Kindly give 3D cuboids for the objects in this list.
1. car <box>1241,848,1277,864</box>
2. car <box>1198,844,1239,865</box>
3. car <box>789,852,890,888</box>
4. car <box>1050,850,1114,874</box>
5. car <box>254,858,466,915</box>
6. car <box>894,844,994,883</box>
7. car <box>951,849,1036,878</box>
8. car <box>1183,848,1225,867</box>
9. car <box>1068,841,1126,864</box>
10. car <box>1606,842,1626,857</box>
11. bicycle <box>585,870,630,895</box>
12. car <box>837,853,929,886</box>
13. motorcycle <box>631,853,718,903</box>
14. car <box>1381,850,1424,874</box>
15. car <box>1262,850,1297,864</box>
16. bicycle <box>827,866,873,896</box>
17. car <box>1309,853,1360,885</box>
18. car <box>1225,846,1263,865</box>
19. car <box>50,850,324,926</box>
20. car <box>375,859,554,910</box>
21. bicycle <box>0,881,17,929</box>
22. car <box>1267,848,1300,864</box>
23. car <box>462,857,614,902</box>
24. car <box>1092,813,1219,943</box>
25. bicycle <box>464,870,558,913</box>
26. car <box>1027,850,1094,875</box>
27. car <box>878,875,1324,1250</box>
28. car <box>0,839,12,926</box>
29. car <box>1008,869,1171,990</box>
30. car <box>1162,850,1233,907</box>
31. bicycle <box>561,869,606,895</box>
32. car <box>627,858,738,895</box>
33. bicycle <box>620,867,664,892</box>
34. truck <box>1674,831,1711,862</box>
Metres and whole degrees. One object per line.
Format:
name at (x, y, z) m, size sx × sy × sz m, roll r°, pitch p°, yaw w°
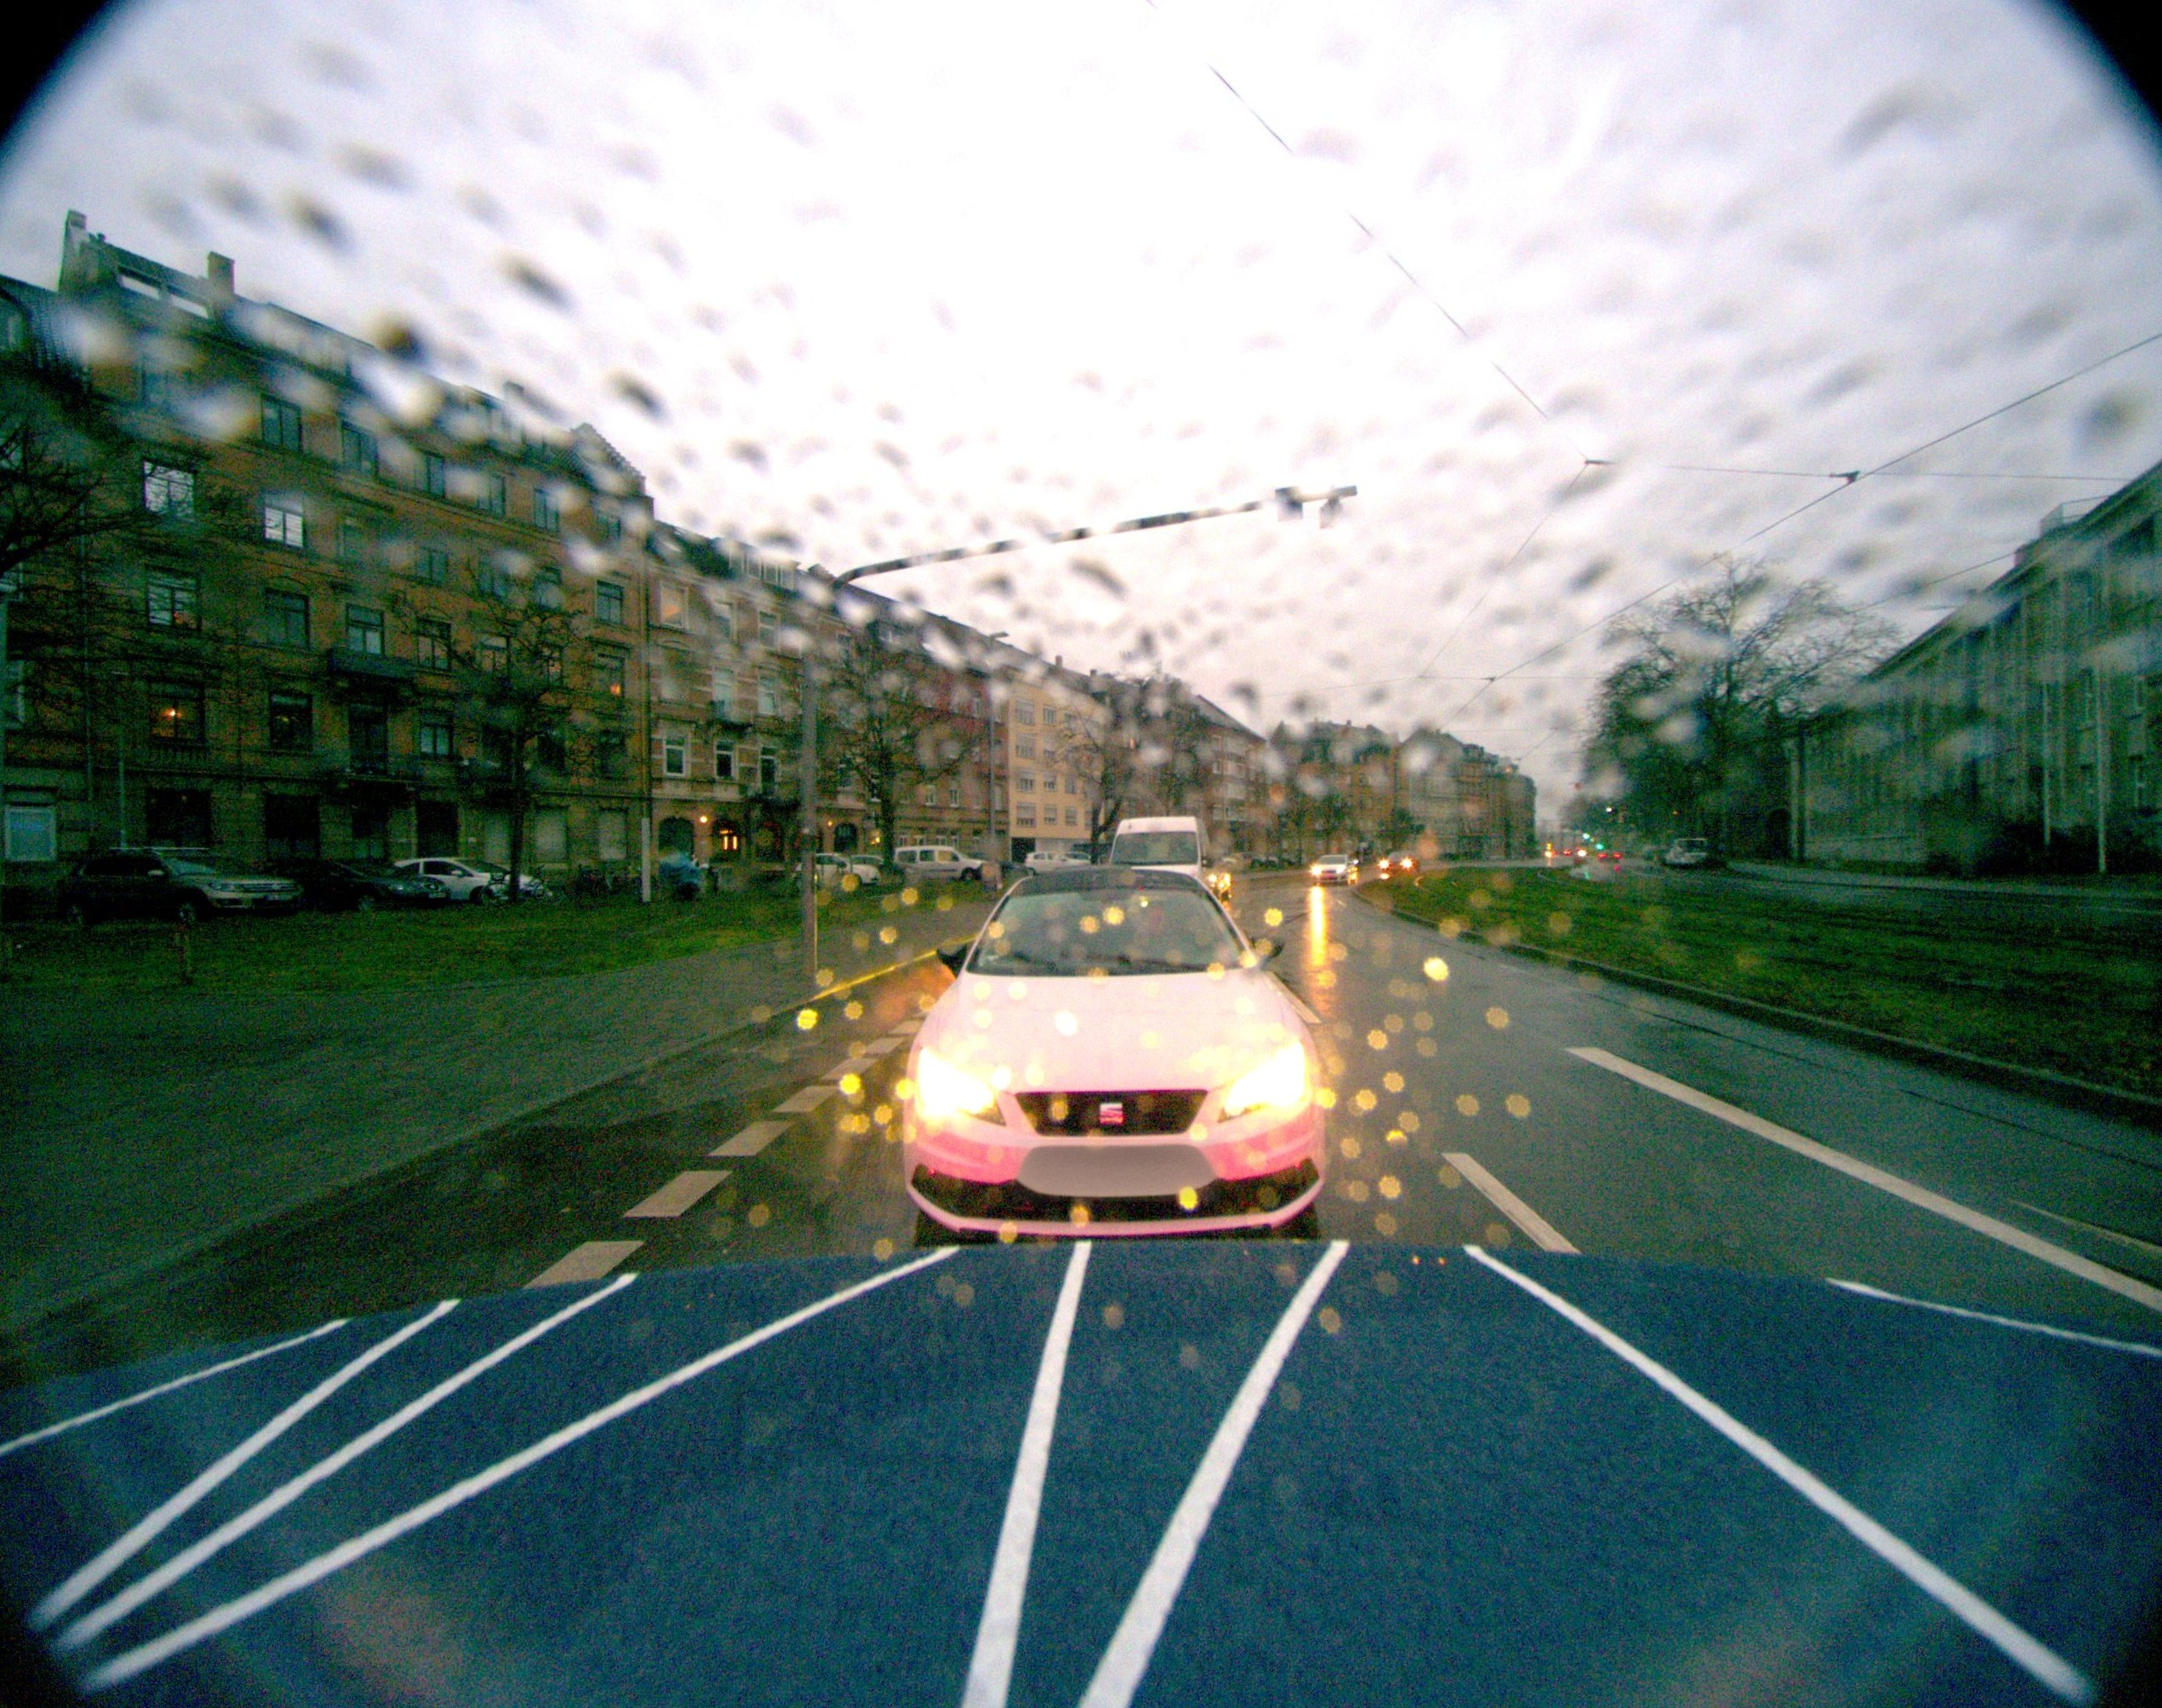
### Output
car at (16.217, 0.207, 69.140) m, size 3.181 × 1.405 × 1.383 m, roll -1°, pitch 0°, yaw 14°
car at (11.260, 0.054, 62.110) m, size 3.181 × 1.615 × 1.429 m, roll -1°, pitch 0°, yaw 13°
car at (-10.030, 0.649, 31.634) m, size 3.684 × 1.391 × 1.522 m, roll -1°, pitch 0°, yaw 5°
car at (0.073, 0.470, 45.896) m, size 3.609 × 1.362 × 1.619 m, roll -1°, pitch 0°, yaw 9°
car at (-17.814, 0.771, 18.882) m, size 3.684 × 1.298 × 1.742 m, roll -1°, pitch 0°, yaw 4°
car at (-6.527, 0.436, 36.470) m, size 4.341 × 1.757 × 1.782 m, roll -1°, pitch 0°, yaw 4°
car at (-4.416, 0.475, 38.717) m, size 3.958 × 1.436 × 1.703 m, roll -1°, pitch 0°, yaw 10°
car at (9.692, 0.270, 59.994) m, size 3.181 × 1.420 × 1.429 m, roll -1°, pitch 0°, yaw 13°
car at (1.036, -0.102, 48.392) m, size 3.611 × 1.362 × 1.618 m, roll -1°, pitch 0°, yaw 3°
car at (58.587, -0.522, 83.240) m, size 1.686 × 1.630 × 3.654 m, roll -1°, pitch 0°, yaw 34°
bicycle at (-15.909, 0.942, 25.521) m, size 1.790 × 0.773 × 0.447 m, roll 1°, pitch 1°, yaw 28°
car at (-8.865, 0.674, 34.123) m, size 3.684 × 1.428 × 1.522 m, roll -1°, pitch 0°, yaw 5°
motorcycle at (-12.071, 0.698, 22.574) m, size 2.352 × 1.338 × 0.886 m, roll 2°, pitch 2°, yaw 19°
car at (21.728, 0.510, 51.282) m, size 1.836 × 1.524 × 3.824 m, roll -1°, pitch 0°, yaw 36°
car at (18.871, 0.315, 72.157) m, size 3.181 × 1.276 × 1.383 m, roll -1°, pitch 0°, yaw 14°
bicycle at (-7.919, 0.916, 25.994) m, size 1.790 × 0.926 × 0.447 m, roll 2°, pitch 1°, yaw 33°
car at (12.331, 0.701, 36.840) m, size 1.686 × 1.422 × 3.353 m, roll -1°, pitch 0°, yaw 30°
car at (14.328, 0.096, 66.745) m, size 3.181 × 1.615 × 1.447 m, roll -1°, pitch 0°, yaw 13°
car at (-19.543, 0.716, 16.726) m, size 4.152 × 1.560 × 1.742 m, roll -1°, pitch 0°, yaw 4°
car at (-17.045, 0.818, 21.117) m, size 3.684 × 1.298 × 1.669 m, roll -1°, pitch 0°, yaw 4°
bicycle at (-22.179, 0.992, 15.117) m, size 1.792 × 0.926 × 0.446 m, roll 1°, pitch 1°, yaw 10°
car at (20.395, 0.207, 76.486) m, size 3.181 × 1.474 × 1.383 m, roll -1°, pitch 0°, yaw 14°
car at (-16.780, 0.766, 23.576) m, size 3.684 × 1.298 × 1.521 m, roll -1°, pitch 0°, yaw 4°
car at (1.913, 0.446, 17.317) m, size 2.239 × 2.448 × 5.674 m, roll -1°, pitch 0°, yaw 12°
bicycle at (-14.576, 0.939, 19.488) m, size 1.911 × 1.013 × 0.535 m, roll 0°, pitch 1°, yaw -36°
car at (-1.159, 0.458, 43.626) m, size 3.609 × 1.362 × 1.619 m, roll -1°, pitch 0°, yaw 9°
car at (0.139, 0.927, 5.253) m, size 1.787 × 1.370 × 4.223 m, roll -2°, pitch 0°, yaw 2°
car at (-29.178, 0.752, 17.787) m, size 1.994 × 2.176 × 4.670 m, roll -1°, pitch 0°, yaw 33°
car at (0.308, 0.980, 11.294) m, size 1.722 × 1.380 × 3.825 m, roll -1°, pitch 0°, yaw 11°
car at (3.968, 0.753, 25.297) m, size 1.874 × 1.679 × 4.175 m, roll -1°, pitch 0°, yaw 15°
bicycle at (-16.409, 0.915, 25.037) m, size 1.790 × 0.790 × 0.447 m, roll 1°, pitch 1°, yaw 28°
car at (-14.750, 0.828, 28.210) m, size 3.297 × 1.298 × 1.522 m, roll -1°, pitch 0°, yaw 5°
bicycle at (-15.389, 0.894, 26.614) m, size 1.791 × 0.813 × 0.395 m, roll 1°, pitch 1°, yaw 25°
truck at (41.164, -0.506, 51.179) m, size 1.833 × 2.032 × 4.008 m, roll 0°, pitch 0°, yaw 37°
